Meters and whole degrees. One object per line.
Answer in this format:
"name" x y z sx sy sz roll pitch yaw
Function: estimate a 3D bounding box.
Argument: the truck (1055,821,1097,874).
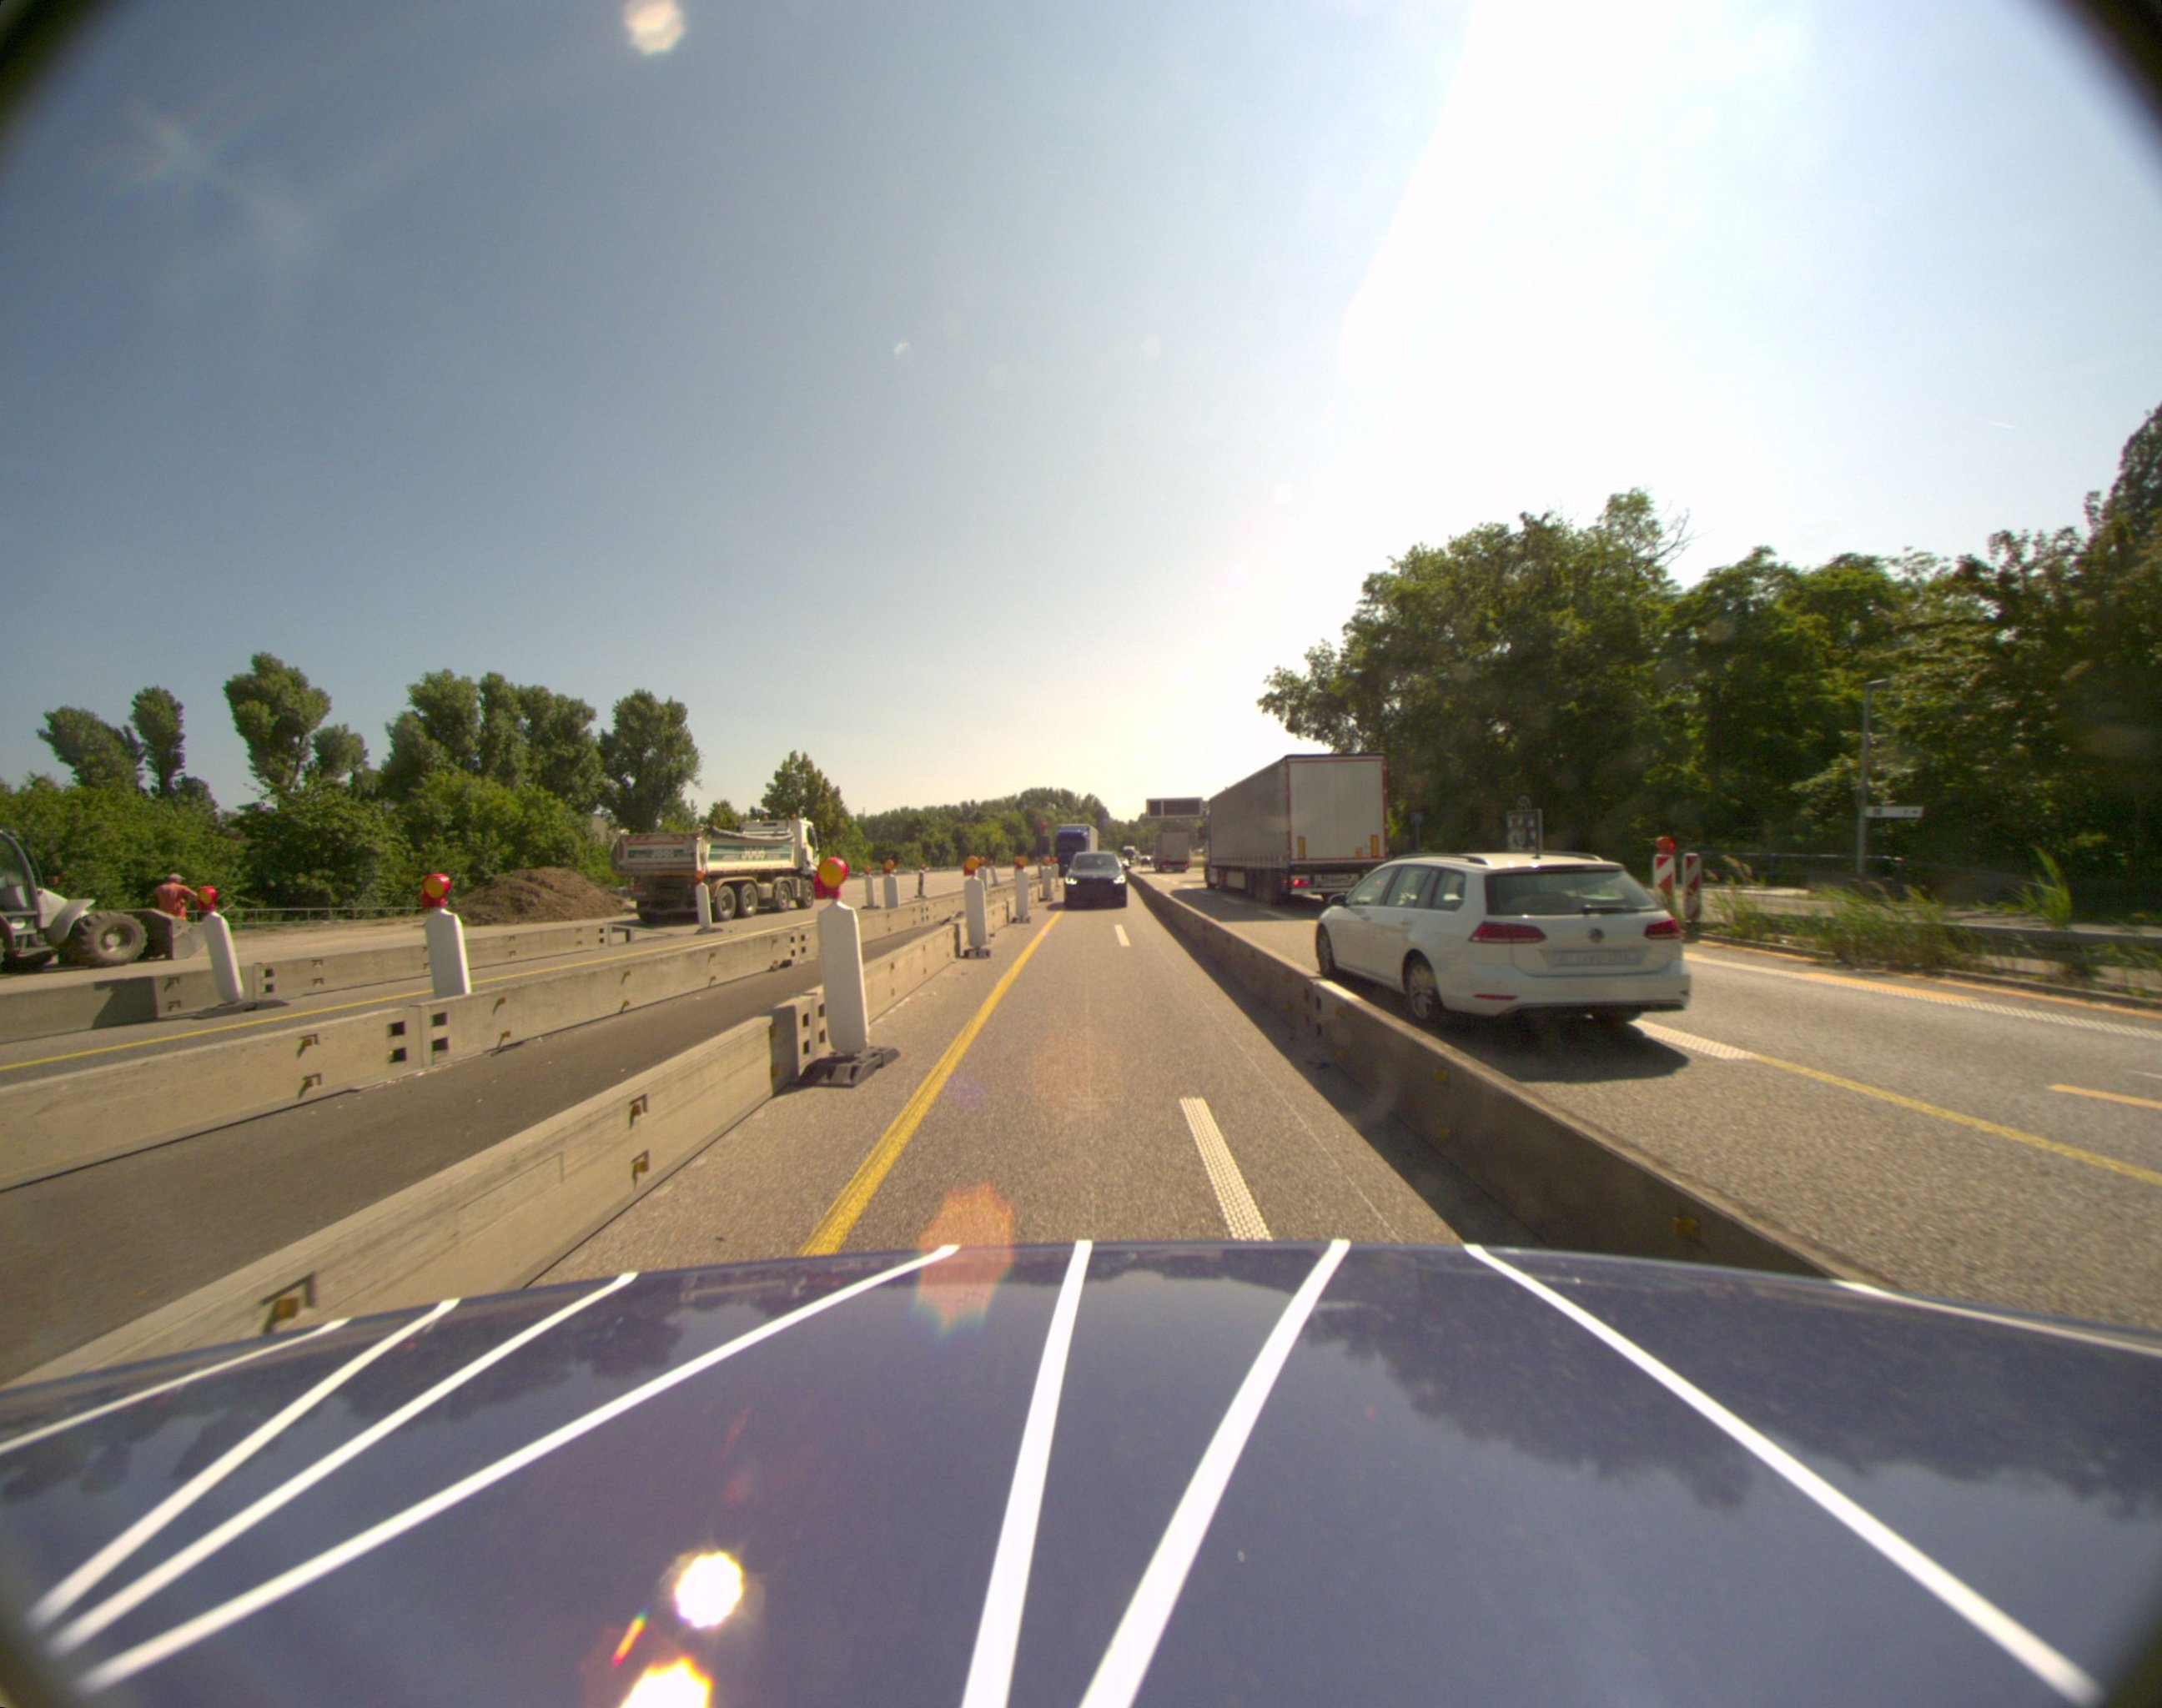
"truck" -0.284 -0.543 61.546 2.860 3.962 8.667 -1 1 3

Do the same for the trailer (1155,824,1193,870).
"trailer" 9.125 -0.681 76.085 2.626 4.103 14.068 -1 1 3

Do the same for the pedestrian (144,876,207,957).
"pedestrian" -19.966 1.367 16.759 0.666 1.738 0.532 -2 1 -4

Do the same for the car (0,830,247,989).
"car" -18.984 0.930 13.437 2.110 2.627 5.982 -1 1 -4

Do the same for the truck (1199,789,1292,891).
"truck" 6.920 -0.546 32.792 2.821 3.967 5.985 -1 0 2

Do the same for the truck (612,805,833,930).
"truck" -11.333 0.343 25.362 2.605 3.413 8.736 -1 1 4

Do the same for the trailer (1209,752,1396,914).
"trailer" 6.717 -0.518 25.875 2.810 4.019 13.469 -1 0 2

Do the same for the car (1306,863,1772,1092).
"car" 3.654 0.839 7.108 1.819 1.409 4.152 -2 0 0

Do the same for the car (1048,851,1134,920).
"car" 0.408 0.816 22.104 1.788 1.651 4.489 -4 0 9

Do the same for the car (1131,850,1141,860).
"car" 9.920 0.165 137.474 1.747 1.621 4.373 -1 1 3

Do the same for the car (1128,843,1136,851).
"car" 11.266 -1.536 167.998 1.746 1.621 4.093 -1 1 4

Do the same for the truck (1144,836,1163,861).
"truck" 12.283 -0.990 129.504 3.052 4.081 7.644 -1 1 4

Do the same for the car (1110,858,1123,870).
"car" 4.931 1.354 105.409 1.747 1.621 4.093 -1 1 3

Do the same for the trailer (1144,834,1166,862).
"trailer" 11.772 -0.961 122.036 3.052 4.081 12.343 -1 1 4
